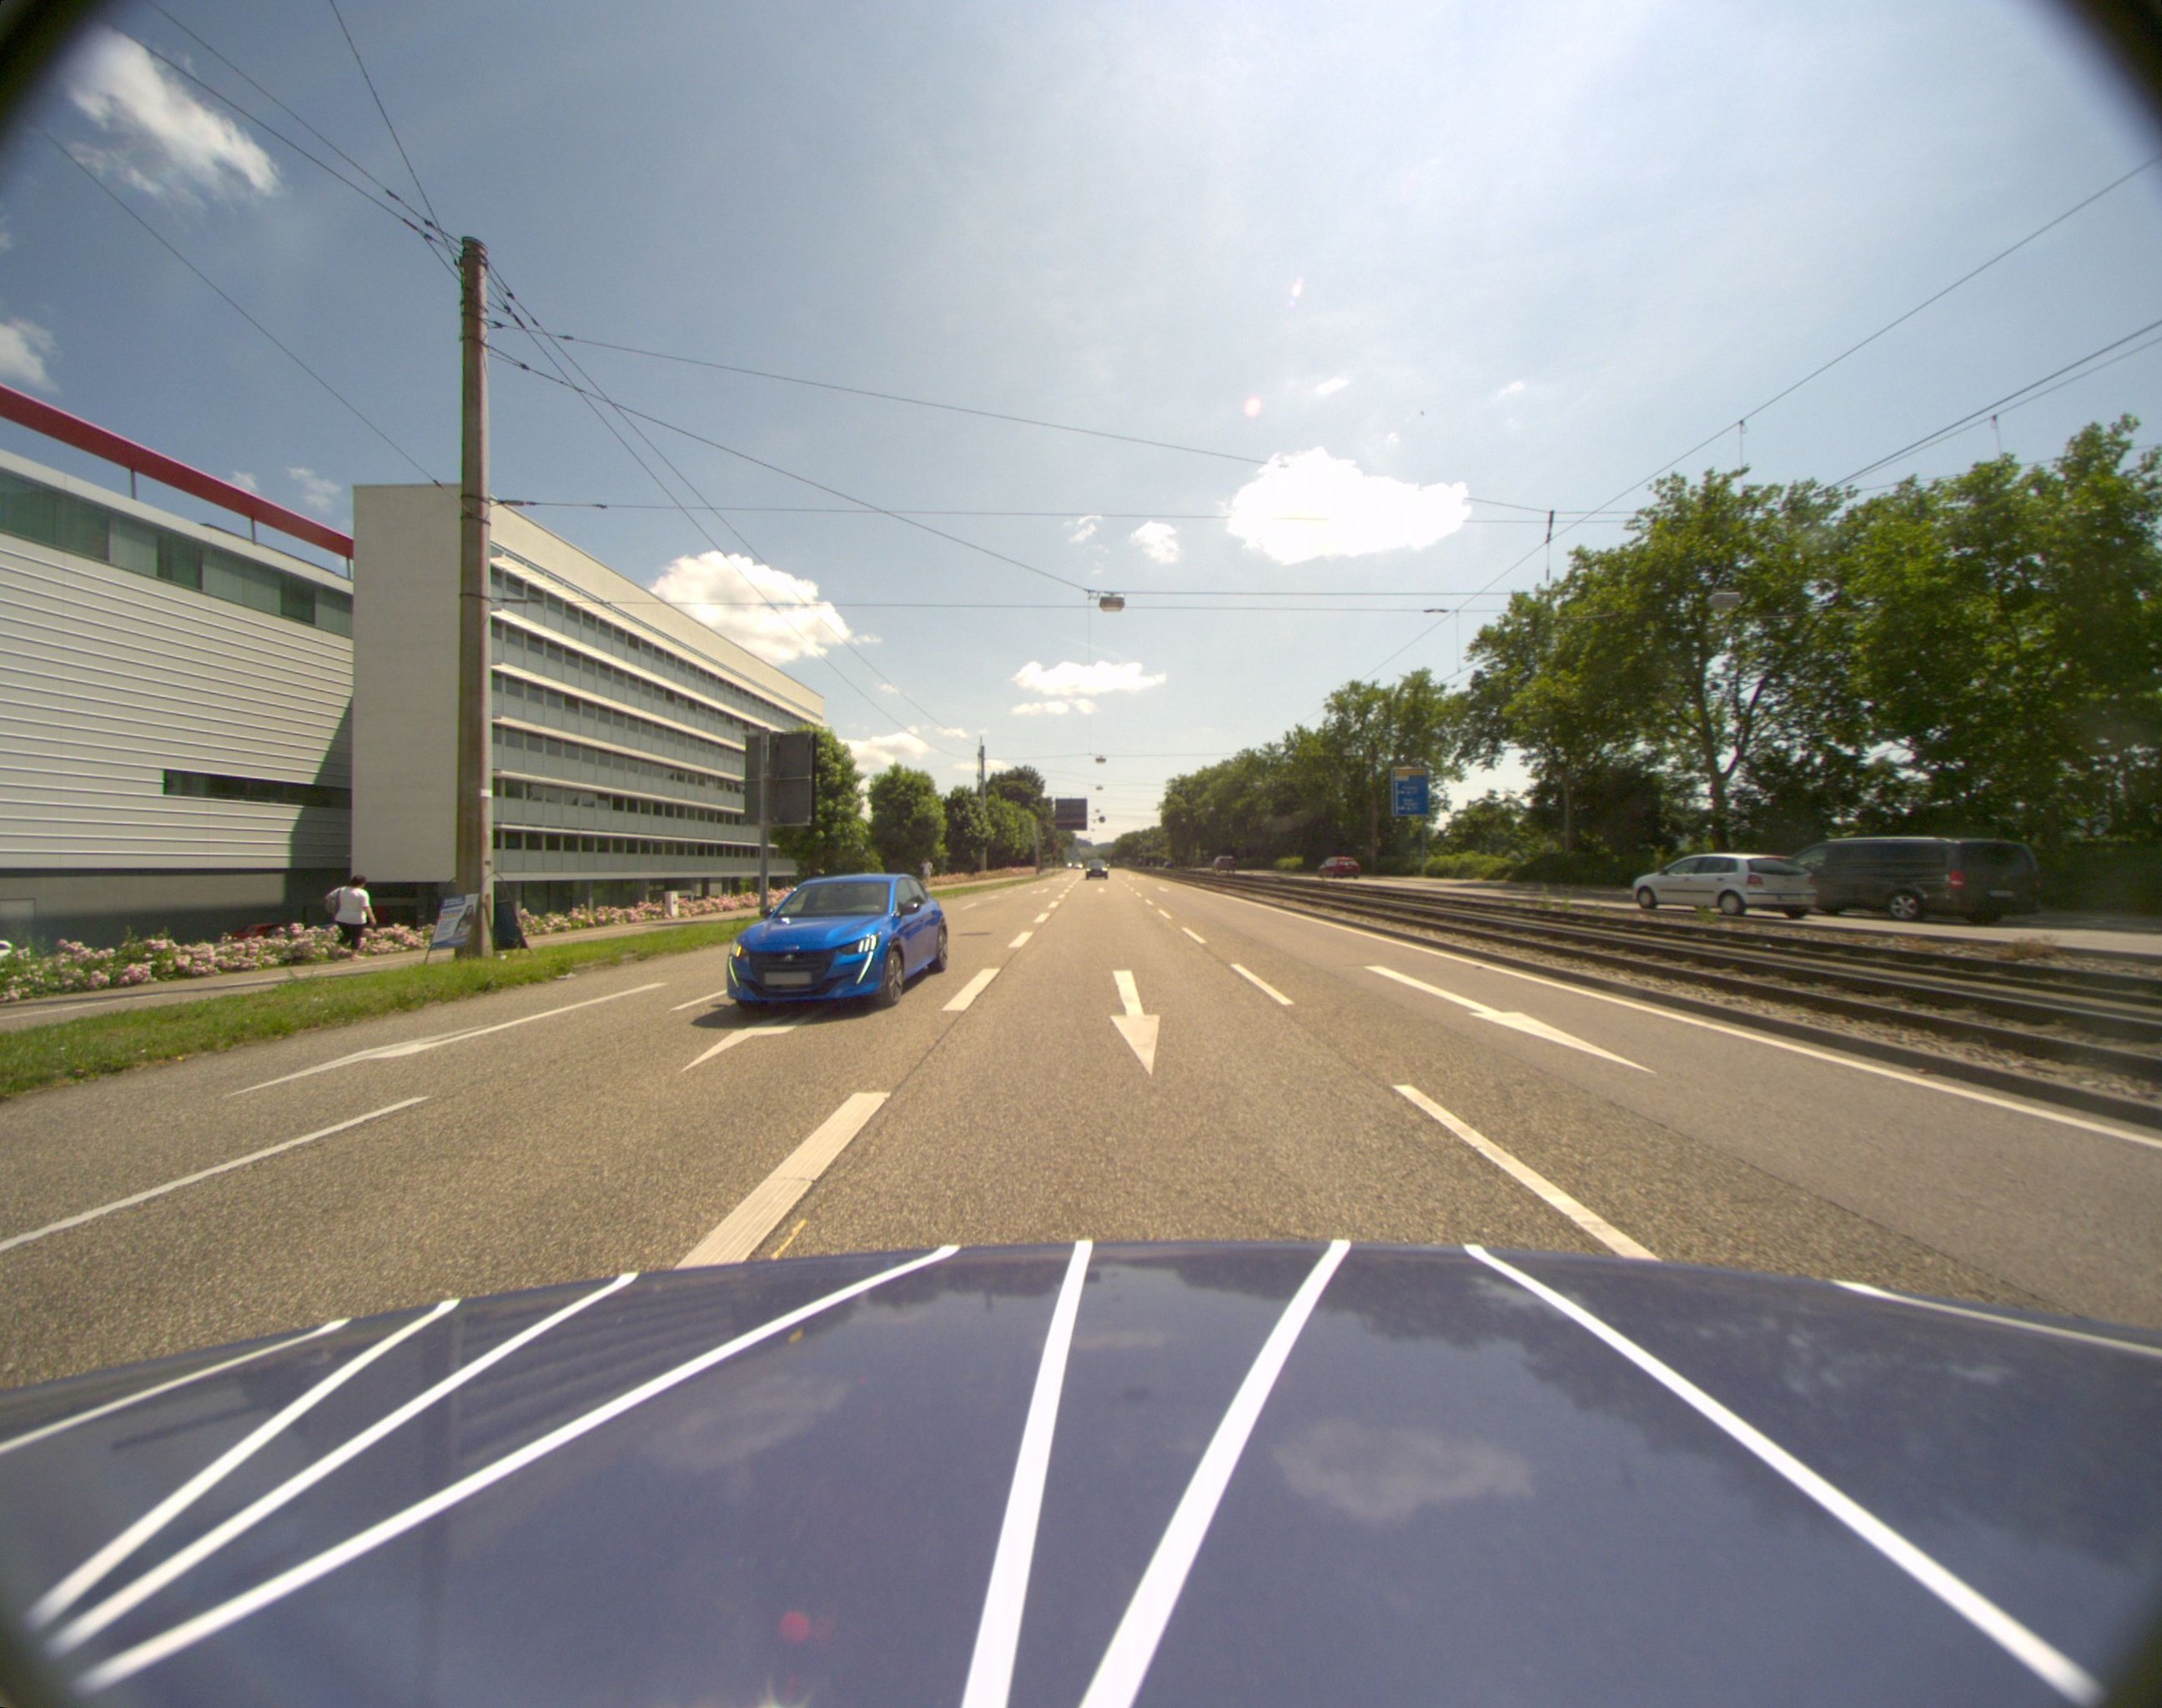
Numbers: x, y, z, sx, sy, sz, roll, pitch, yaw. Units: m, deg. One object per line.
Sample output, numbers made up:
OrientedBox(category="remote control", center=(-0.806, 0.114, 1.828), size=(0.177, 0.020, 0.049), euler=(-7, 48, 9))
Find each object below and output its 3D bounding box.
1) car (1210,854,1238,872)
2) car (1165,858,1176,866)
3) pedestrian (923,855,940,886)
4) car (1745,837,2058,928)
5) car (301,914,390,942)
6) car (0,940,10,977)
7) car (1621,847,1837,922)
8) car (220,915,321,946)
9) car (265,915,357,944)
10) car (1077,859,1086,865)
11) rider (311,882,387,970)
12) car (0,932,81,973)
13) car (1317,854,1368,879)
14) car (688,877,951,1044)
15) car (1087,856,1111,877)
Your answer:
OrientedBox(category="car", center=(15.543, 0.946, 82.657), size=(1.999, 1.820, 4.969), euler=(1, 0, -1))
OrientedBox(category="car", center=(19.038, 1.712, 161.724), size=(1.803, 1.495, 4.735), euler=(1, 0, -1))
OrientedBox(category="pedestrian", center=(-9.076, 0.996, 46.090), size=(0.758, 1.838, 0.931), euler=(-2, 1, 3))
OrientedBox(category="car", center=(18.974, 0.591, 18.033), size=(1.999, 1.820, 4.969), euler=(1, 0, -1))
OrientedBox(category="car", center=(-45.819, 4.595, 47.472), size=(1.609, 1.314, 4.000), euler=(-2, 0, 1))
OrientedBox(category="car", center=(-48.565, 4.643, 31.144), size=(1.998, 1.602, 5.146), euler=(-2, 0, 1))
OrientedBox(category="car", center=(15.361, 0.670, 18.356), size=(1.690, 1.574, 4.058), euler=(2, 0, -1))
OrientedBox(category="car", center=(-50.699, 4.745, 47.641), size=(1.998, 1.438, 4.000), euler=(-2, 0, 1))
OrientedBox(category="car", center=(-48.154, 4.707, 47.635), size=(1.648, 1.377, 4.000), euler=(-2, 0, 1))
OrientedBox(category="car", center=(0.130, 1.736, 167.743), size=(1.896, 1.331, 4.000), euler=(-2, 0, 1))
OrientedBox(category="rider", center=(-12.713, 1.230, 13.207), size=(0.671, 1.449, 0.618), euler=(-2, 1, 1))
OrientedBox(category="car", center=(-51.138, 4.759, 36.042), size=(1.998, 1.602, 4.000), euler=(-2, 0, 1))
OrientedBox(category="car", center=(18.543, 0.886, 54.142), size=(1.999, 1.660, 4.468), euler=(1, 0, -1))
OrientedBox(category="car", center=(-2.844, 1.080, 9.290), size=(1.842, 1.446, 3.999), euler=(-1, 0, -1))
OrientedBox(category="car", center=(1.452, 0.969, 62.111), size=(1.898, 1.564, 4.511), euler=(-1, 0, 1))
